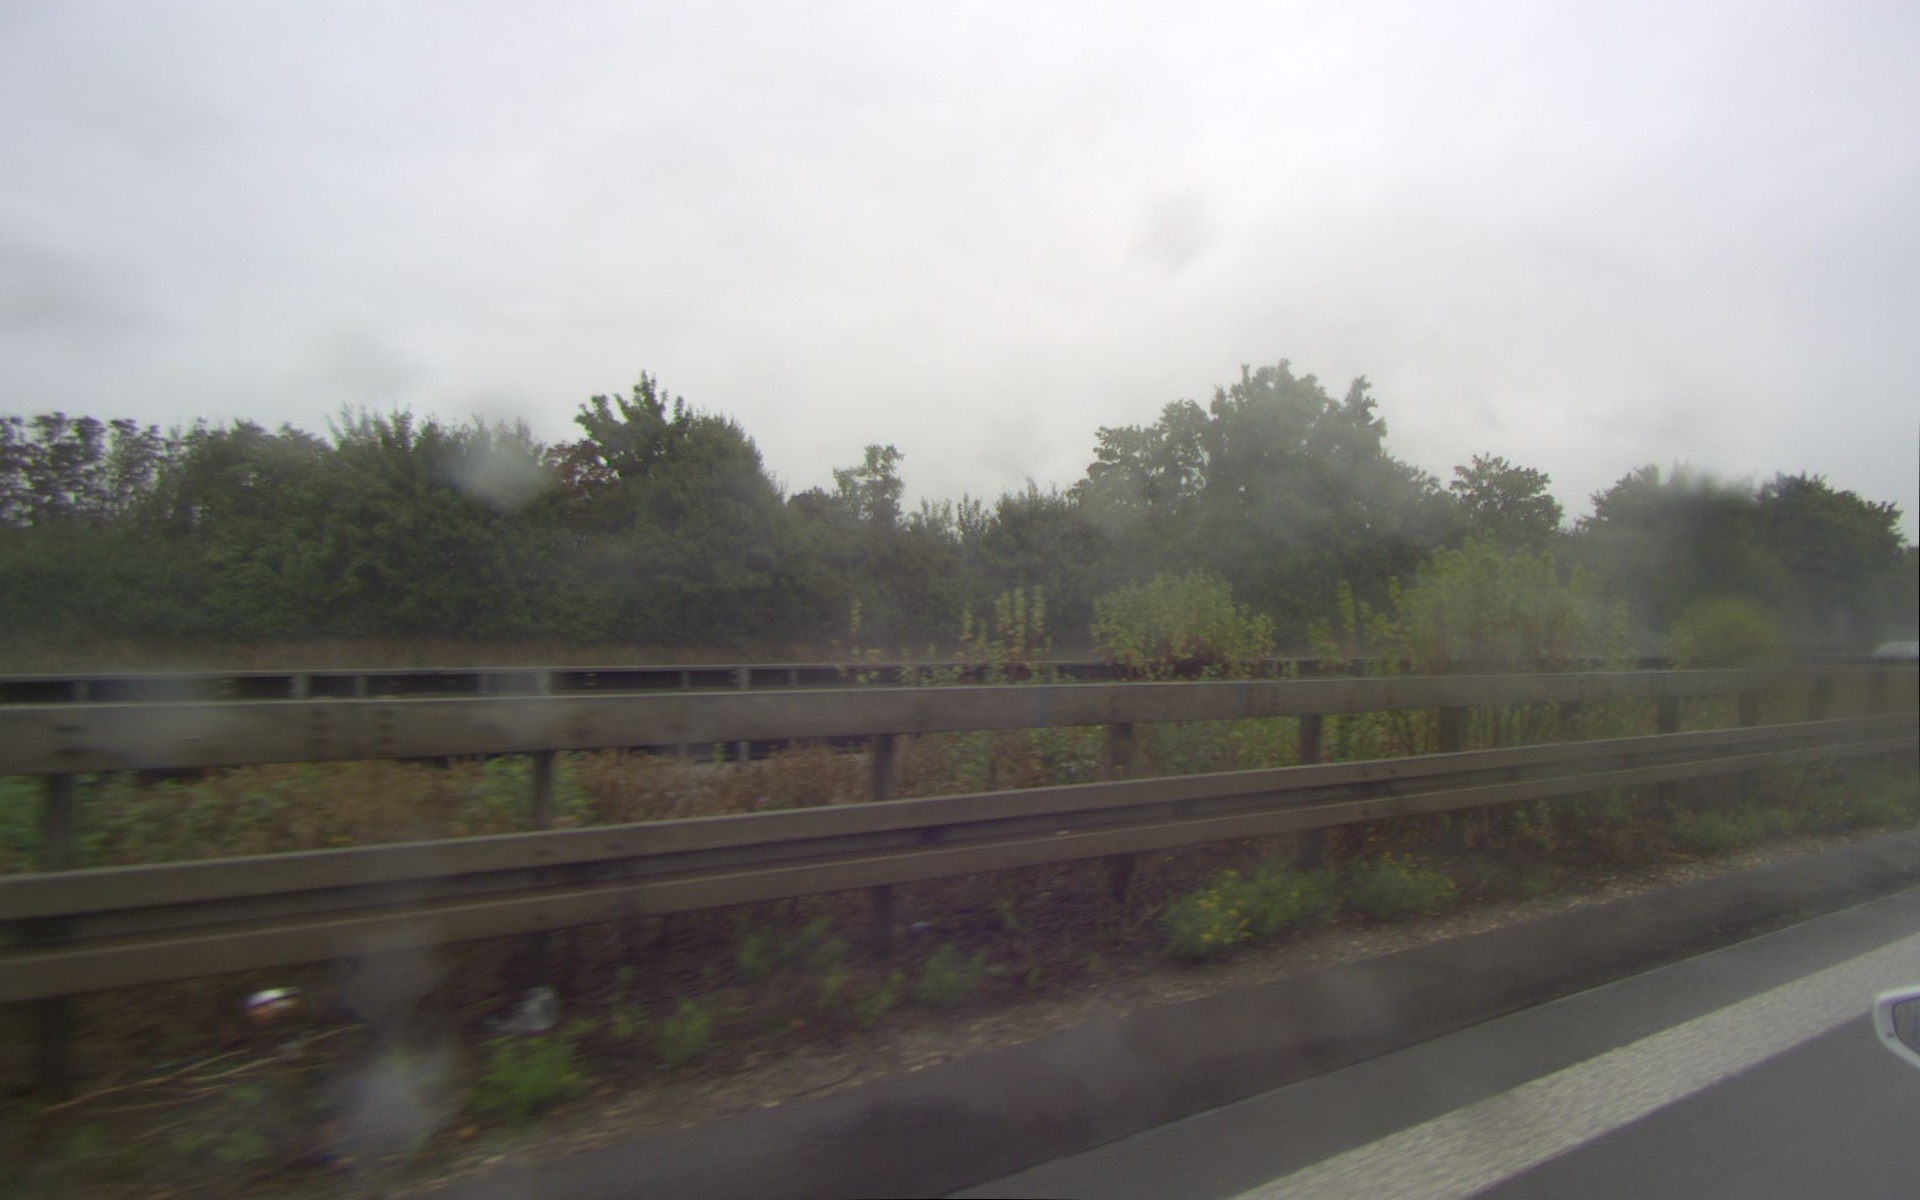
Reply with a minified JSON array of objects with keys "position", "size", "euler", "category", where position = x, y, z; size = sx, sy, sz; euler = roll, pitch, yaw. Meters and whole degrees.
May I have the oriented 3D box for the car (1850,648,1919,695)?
[{"position":[36.020,2.652,38.048],"size":[5.371,1.532,1.918],"euler":[1,0,-31],"category":"car"}]
